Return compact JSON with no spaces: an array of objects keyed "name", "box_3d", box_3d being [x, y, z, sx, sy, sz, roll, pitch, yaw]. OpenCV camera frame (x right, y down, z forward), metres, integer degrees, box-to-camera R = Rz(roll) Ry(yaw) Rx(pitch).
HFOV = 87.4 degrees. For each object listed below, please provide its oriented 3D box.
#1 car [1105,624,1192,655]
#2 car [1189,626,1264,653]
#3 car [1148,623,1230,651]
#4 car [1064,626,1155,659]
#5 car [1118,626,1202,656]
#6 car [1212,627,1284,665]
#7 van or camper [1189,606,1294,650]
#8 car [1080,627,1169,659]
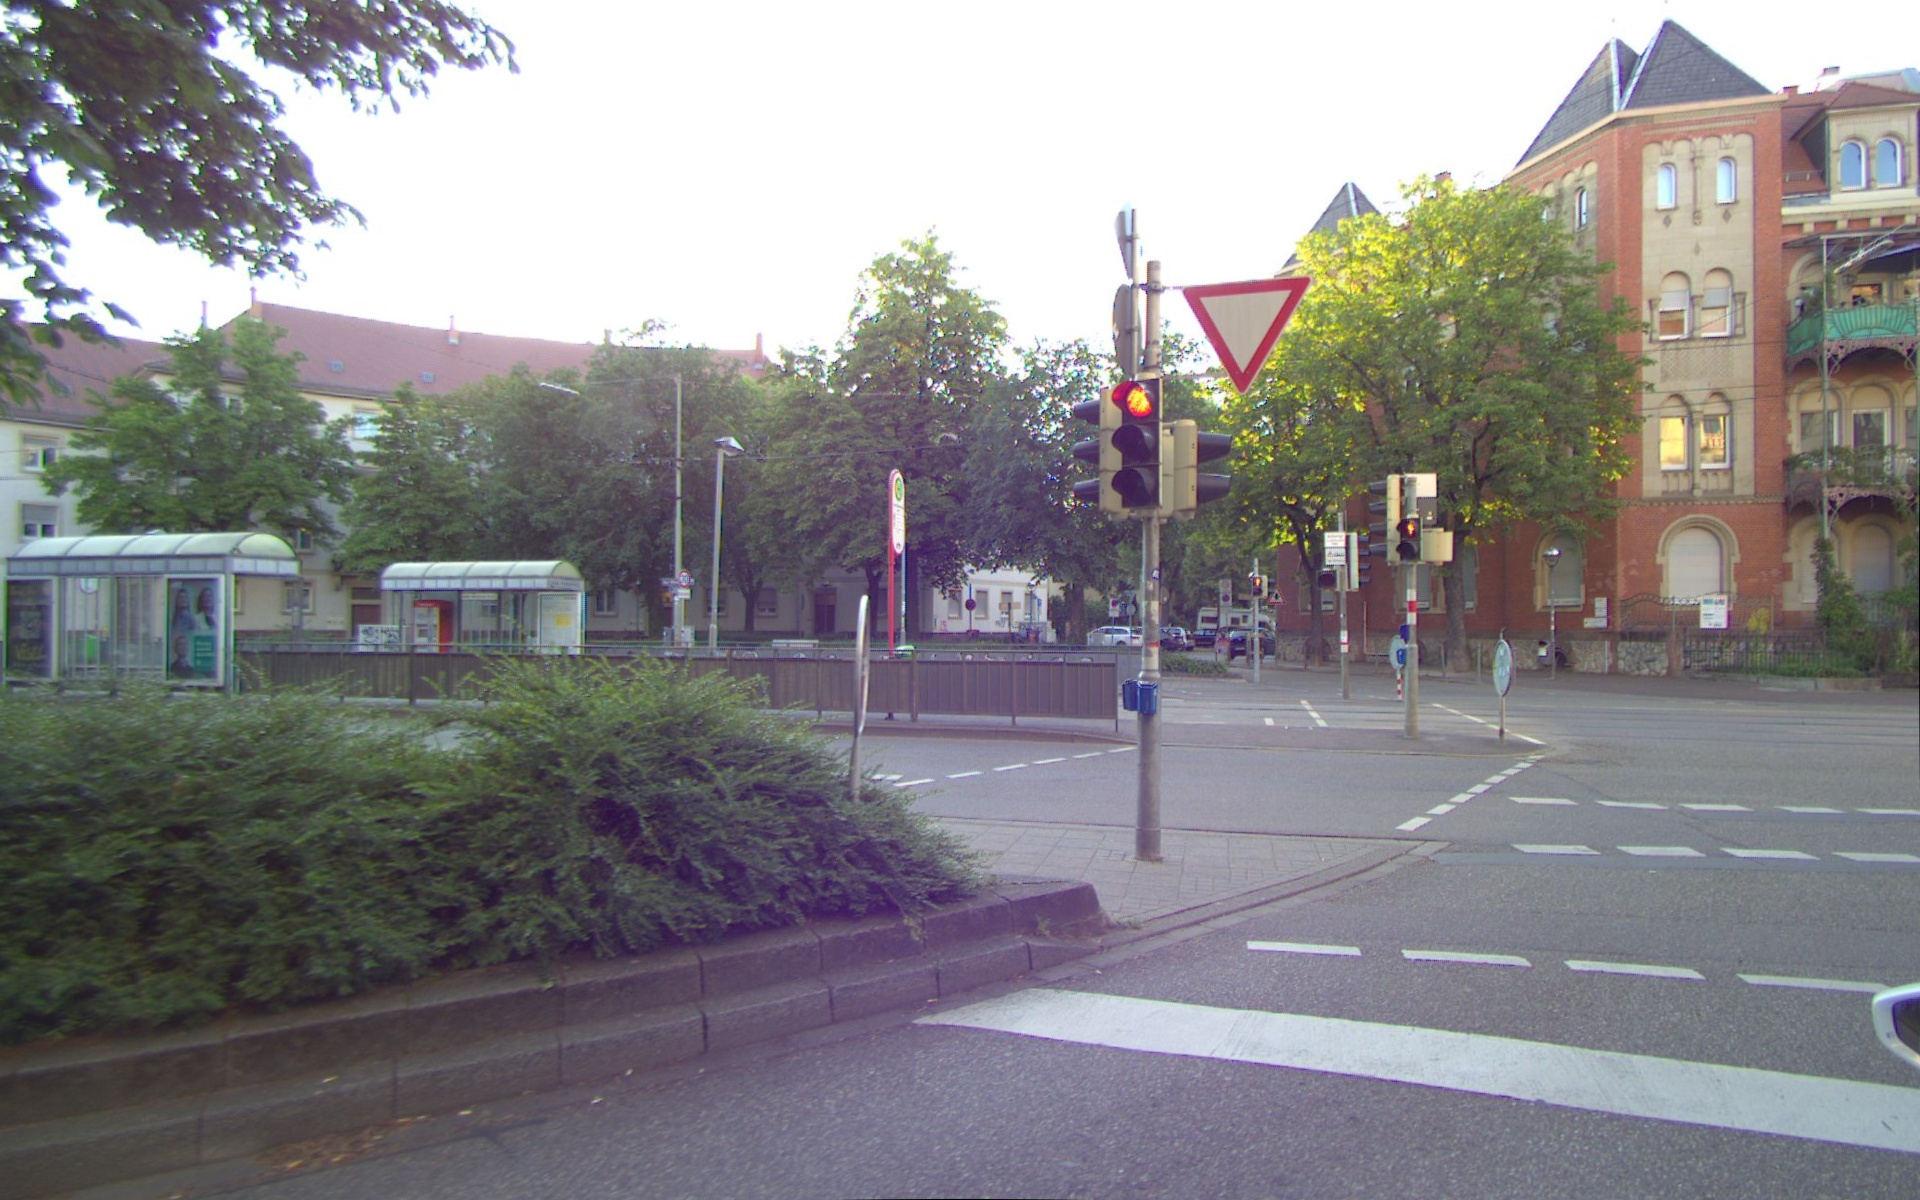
[{"name":"car","box_3d":[11.629,2.417,62.075,4.881,1.726,1.995,1,-1,33]},{"name":"car","box_3d":[19.214,2.836,72.444,4.881,1.726,1.995,1,-1,33]},{"name":"car","box_3d":[15.220,2.442,66.813,4.881,1.726,1.995,1,-1,33]},{"name":"car","box_3d":[8.686,2.426,58.548,4.881,1.726,1.995,1,-1,33]},{"name":"car","box_3d":[12.905,2.633,64.872,4.881,1.726,1.995,1,-1,33]},{"name":"car","box_3d":[14.194,2.210,49.327,1.967,1.726,4.704,1,-1,35]},{"name":"van or camper","box_3d":[21.596,2.128,77.206,7.263,3.124,2.666,1,-1,33]},{"name":"car","box_3d":[9.870,2.533,60.440,4.881,1.726,1.995,1,-1,33]}]
